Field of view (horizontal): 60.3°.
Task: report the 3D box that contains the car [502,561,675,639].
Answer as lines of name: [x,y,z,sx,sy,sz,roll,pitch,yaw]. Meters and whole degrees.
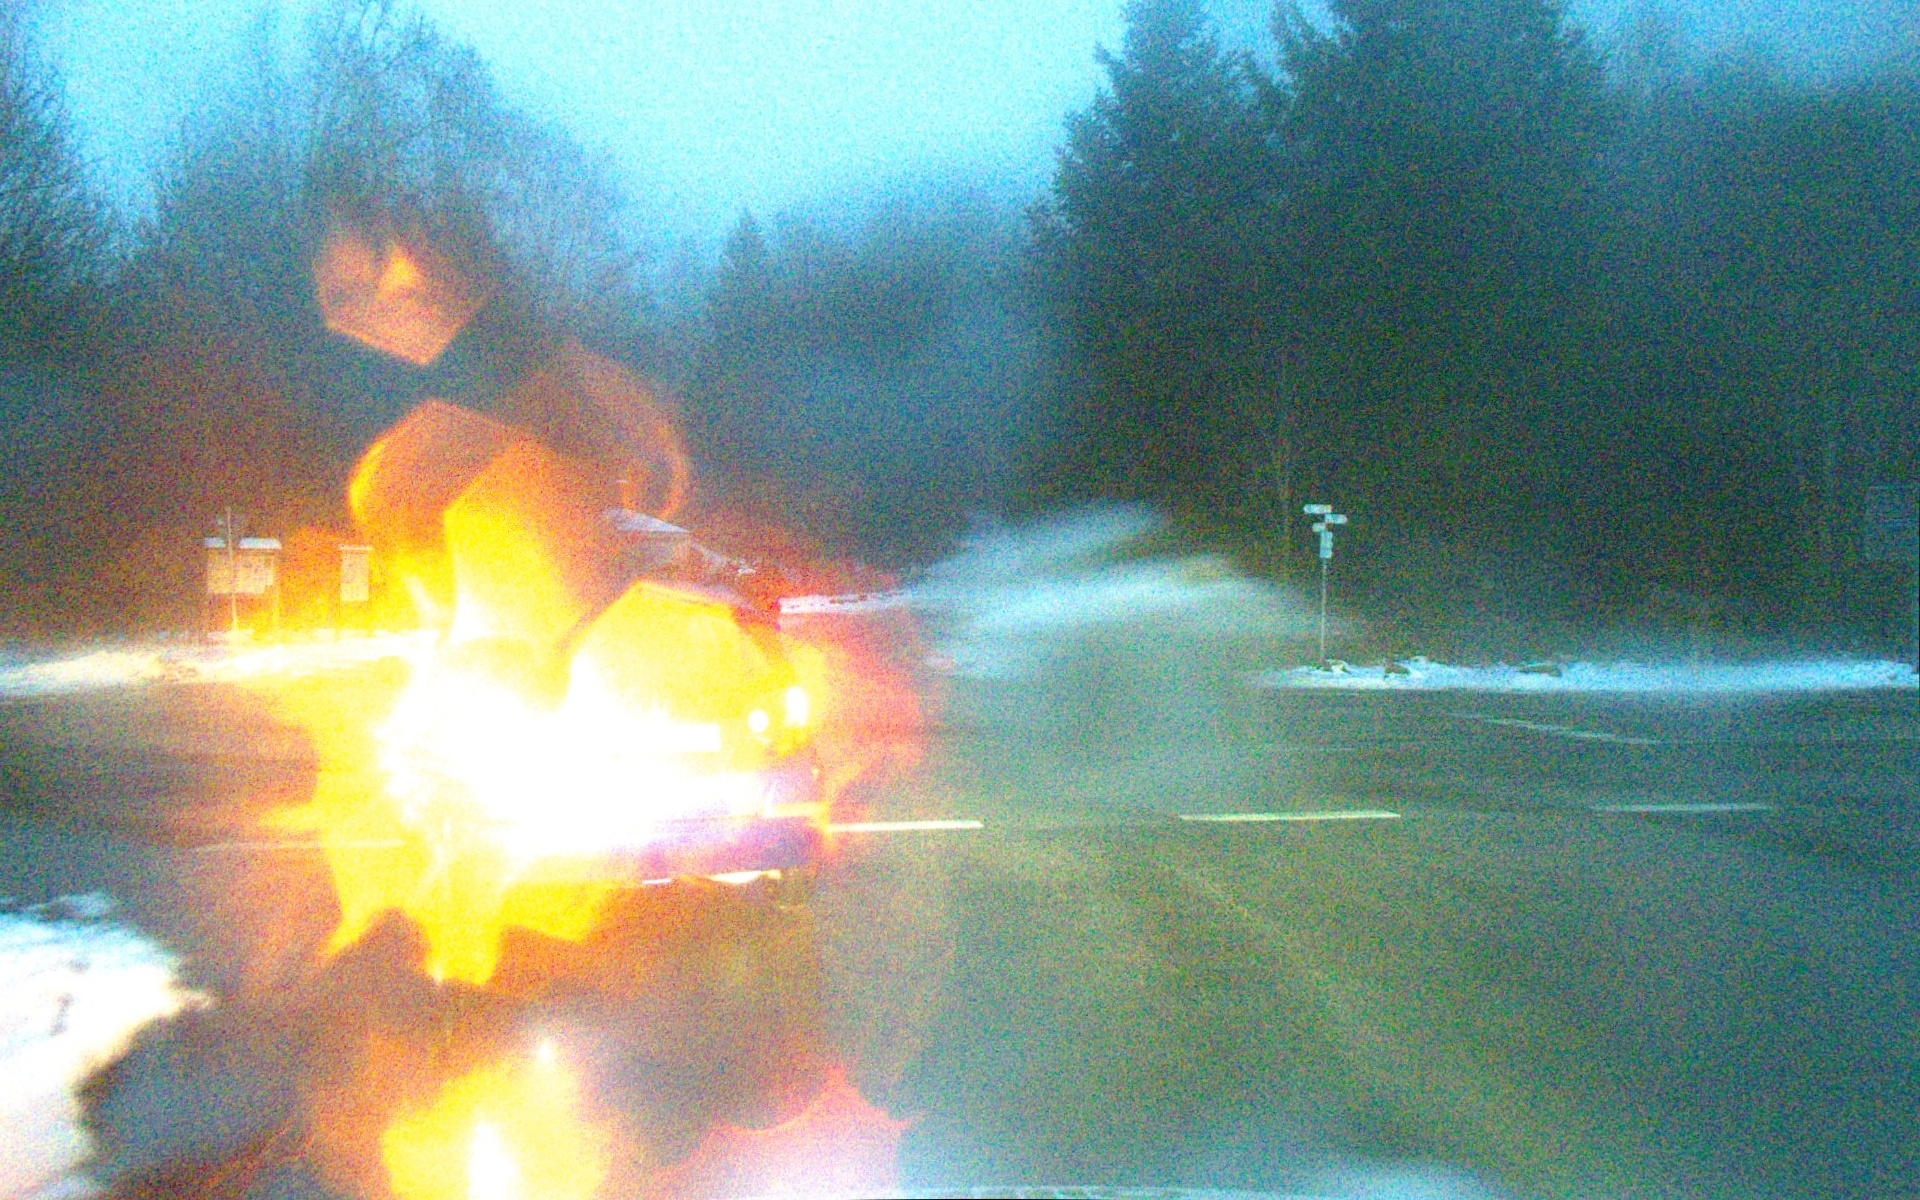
car: [-9.538,0.011,42.660,3.863,1.914,2.001,1,-1,7]

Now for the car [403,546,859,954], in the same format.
car: [-1.893,0.571,8.499,1.668,1.579,3.831,1,0,-21]

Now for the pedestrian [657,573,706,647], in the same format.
pedestrian: [-7.079,0.255,42.055,0.940,1.860,0.926,1,-1,12]
